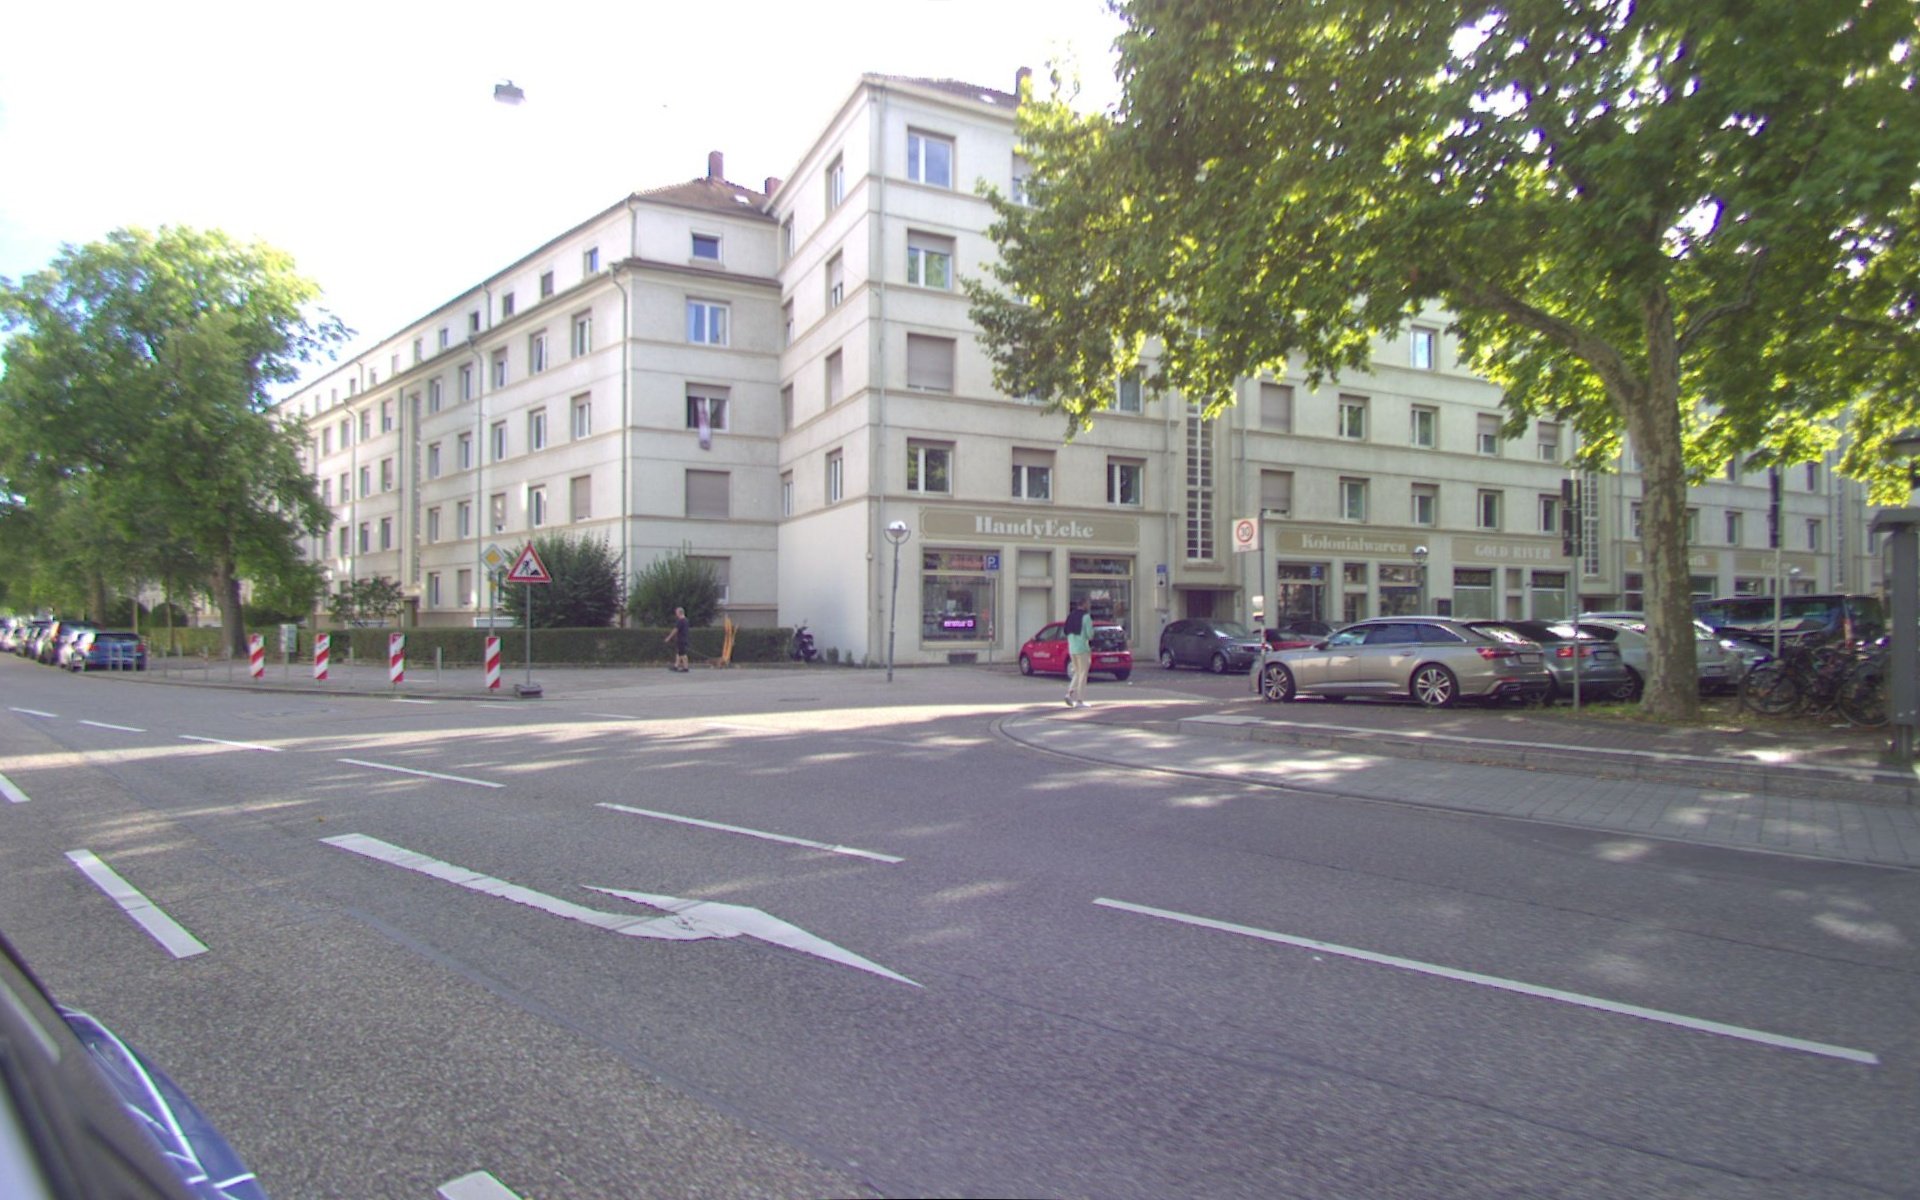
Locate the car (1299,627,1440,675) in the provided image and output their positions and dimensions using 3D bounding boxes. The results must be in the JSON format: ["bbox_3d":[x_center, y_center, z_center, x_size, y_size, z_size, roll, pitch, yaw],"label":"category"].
[{"bbox_3d":[11.914,1.458,29.640,1.623,1.314,3.570,0,-2,-30],"label":"car"}]

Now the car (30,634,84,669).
[{"bbox_3d":[-40.537,2.292,45.406,1.674,1.504,4.336,3,-3,-43],"label":"car"}]

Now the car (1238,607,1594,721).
[{"bbox_3d":[7.382,0.977,16.934,2.204,1.598,4.986,1,-2,-36],"label":"car"}]

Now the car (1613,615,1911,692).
[{"bbox_3d":[16.194,1.034,20.720,1.828,1.388,4.401,0,-2,-28],"label":"car"}]

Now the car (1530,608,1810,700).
[{"bbox_3d":[14.037,1.027,20.314,1.654,1.629,4.290,0,-2,-28],"label":"car"}]

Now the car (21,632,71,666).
[{"bbox_3d":[-43.739,2.339,48.407,3.017,1.532,1.535,-2,-4,45],"label":"car"}]

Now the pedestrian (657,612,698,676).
[{"bbox_3d":[-7.112,1.106,25.495,0.732,1.590,0.724,-2,-2,39],"label":"pedestrian"}]

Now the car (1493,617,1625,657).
[{"bbox_3d":[20.748,1.272,35.185,1.623,1.314,3.570,0,-2,-30],"label":"car"}]

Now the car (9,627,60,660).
[{"bbox_3d":[-50.427,2.363,55.125,4.484,1.681,1.778,-2,-4,45],"label":"car"}]

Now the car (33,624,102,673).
[{"bbox_3d":[-36.873,1.986,41.784,4.192,1.897,1.704,-2,-4,43],"label":"car"}]

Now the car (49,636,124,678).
[{"bbox_3d":[-32.869,2.122,38.052,3.804,1.505,1.779,-2,-4,45],"label":"car"}]

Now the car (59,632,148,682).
[{"bbox_3d":[-29.460,1.940,34.789,3.802,1.632,1.780,-2,-4,42],"label":"car"}]

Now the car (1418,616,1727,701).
[{"bbox_3d":[11.412,1.043,19.297,1.643,1.388,4.853,0,-2,-28],"label":"car"}]

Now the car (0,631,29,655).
[{"bbox_3d":[-60.218,2.729,64.041,4.014,1.479,1.596,-2,-3,43],"label":"car"}]

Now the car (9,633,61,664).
[{"bbox_3d":[-46.802,2.449,51.202,3.849,1.498,1.681,-2,-4,45],"label":"car"}]

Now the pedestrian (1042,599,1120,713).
[{"bbox_3d":[1.979,0.885,16.410,0.914,1.767,1.068,-2,-1,27],"label":"pedestrian"}]

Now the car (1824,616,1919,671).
[{"bbox_3d":[25.000,1.085,25.597,1.828,1.388,4.401,0,-2,-28],"label":"car"}]

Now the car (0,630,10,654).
[{"bbox_3d":[-75.683,3.253,78.976,4.970,1.807,1.856,-2,-4,43],"label":"car"}]

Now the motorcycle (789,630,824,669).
[{"bbox_3d":[-4.811,1.526,31.578,0.537,1.172,1.882,0,-2,-26],"label":"motorcycle"}]

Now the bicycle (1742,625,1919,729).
[{"bbox_3d":[12.142,0.987,13.666,1.370,1.218,2.109,0,1,-26],"label":"bicycle"}]

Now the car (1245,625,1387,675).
[{"bbox_3d":[10.009,1.385,28.672,1.623,1.314,3.570,0,-2,-30],"label":"car"}]

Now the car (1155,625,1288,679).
[{"bbox_3d":[7.276,1.414,28.510,1.568,1.377,3.718,0,-1,-26],"label":"car"}]

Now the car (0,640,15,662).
[{"bbox_3d":[-68.217,3.598,71.725,1.665,1.492,4.455,5,-5,-43],"label":"car"}]

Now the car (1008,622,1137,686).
[{"bbox_3d":[2.823,1.340,26.144,1.568,1.489,3.718,0,-1,-25],"label":"car"}]

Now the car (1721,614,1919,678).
[{"bbox_3d":[20.784,1.039,23.655,1.828,1.388,4.401,0,-2,-28],"label":"car"}]

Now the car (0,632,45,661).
[{"bbox_3d":[-56.791,2.789,61.229,3.994,1.632,1.720,-2,-2,42],"label":"car"}]

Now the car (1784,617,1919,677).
[{"bbox_3d":[22.957,1.111,24.400,1.828,1.388,4.401,0,-2,-28],"label":"car"}]
